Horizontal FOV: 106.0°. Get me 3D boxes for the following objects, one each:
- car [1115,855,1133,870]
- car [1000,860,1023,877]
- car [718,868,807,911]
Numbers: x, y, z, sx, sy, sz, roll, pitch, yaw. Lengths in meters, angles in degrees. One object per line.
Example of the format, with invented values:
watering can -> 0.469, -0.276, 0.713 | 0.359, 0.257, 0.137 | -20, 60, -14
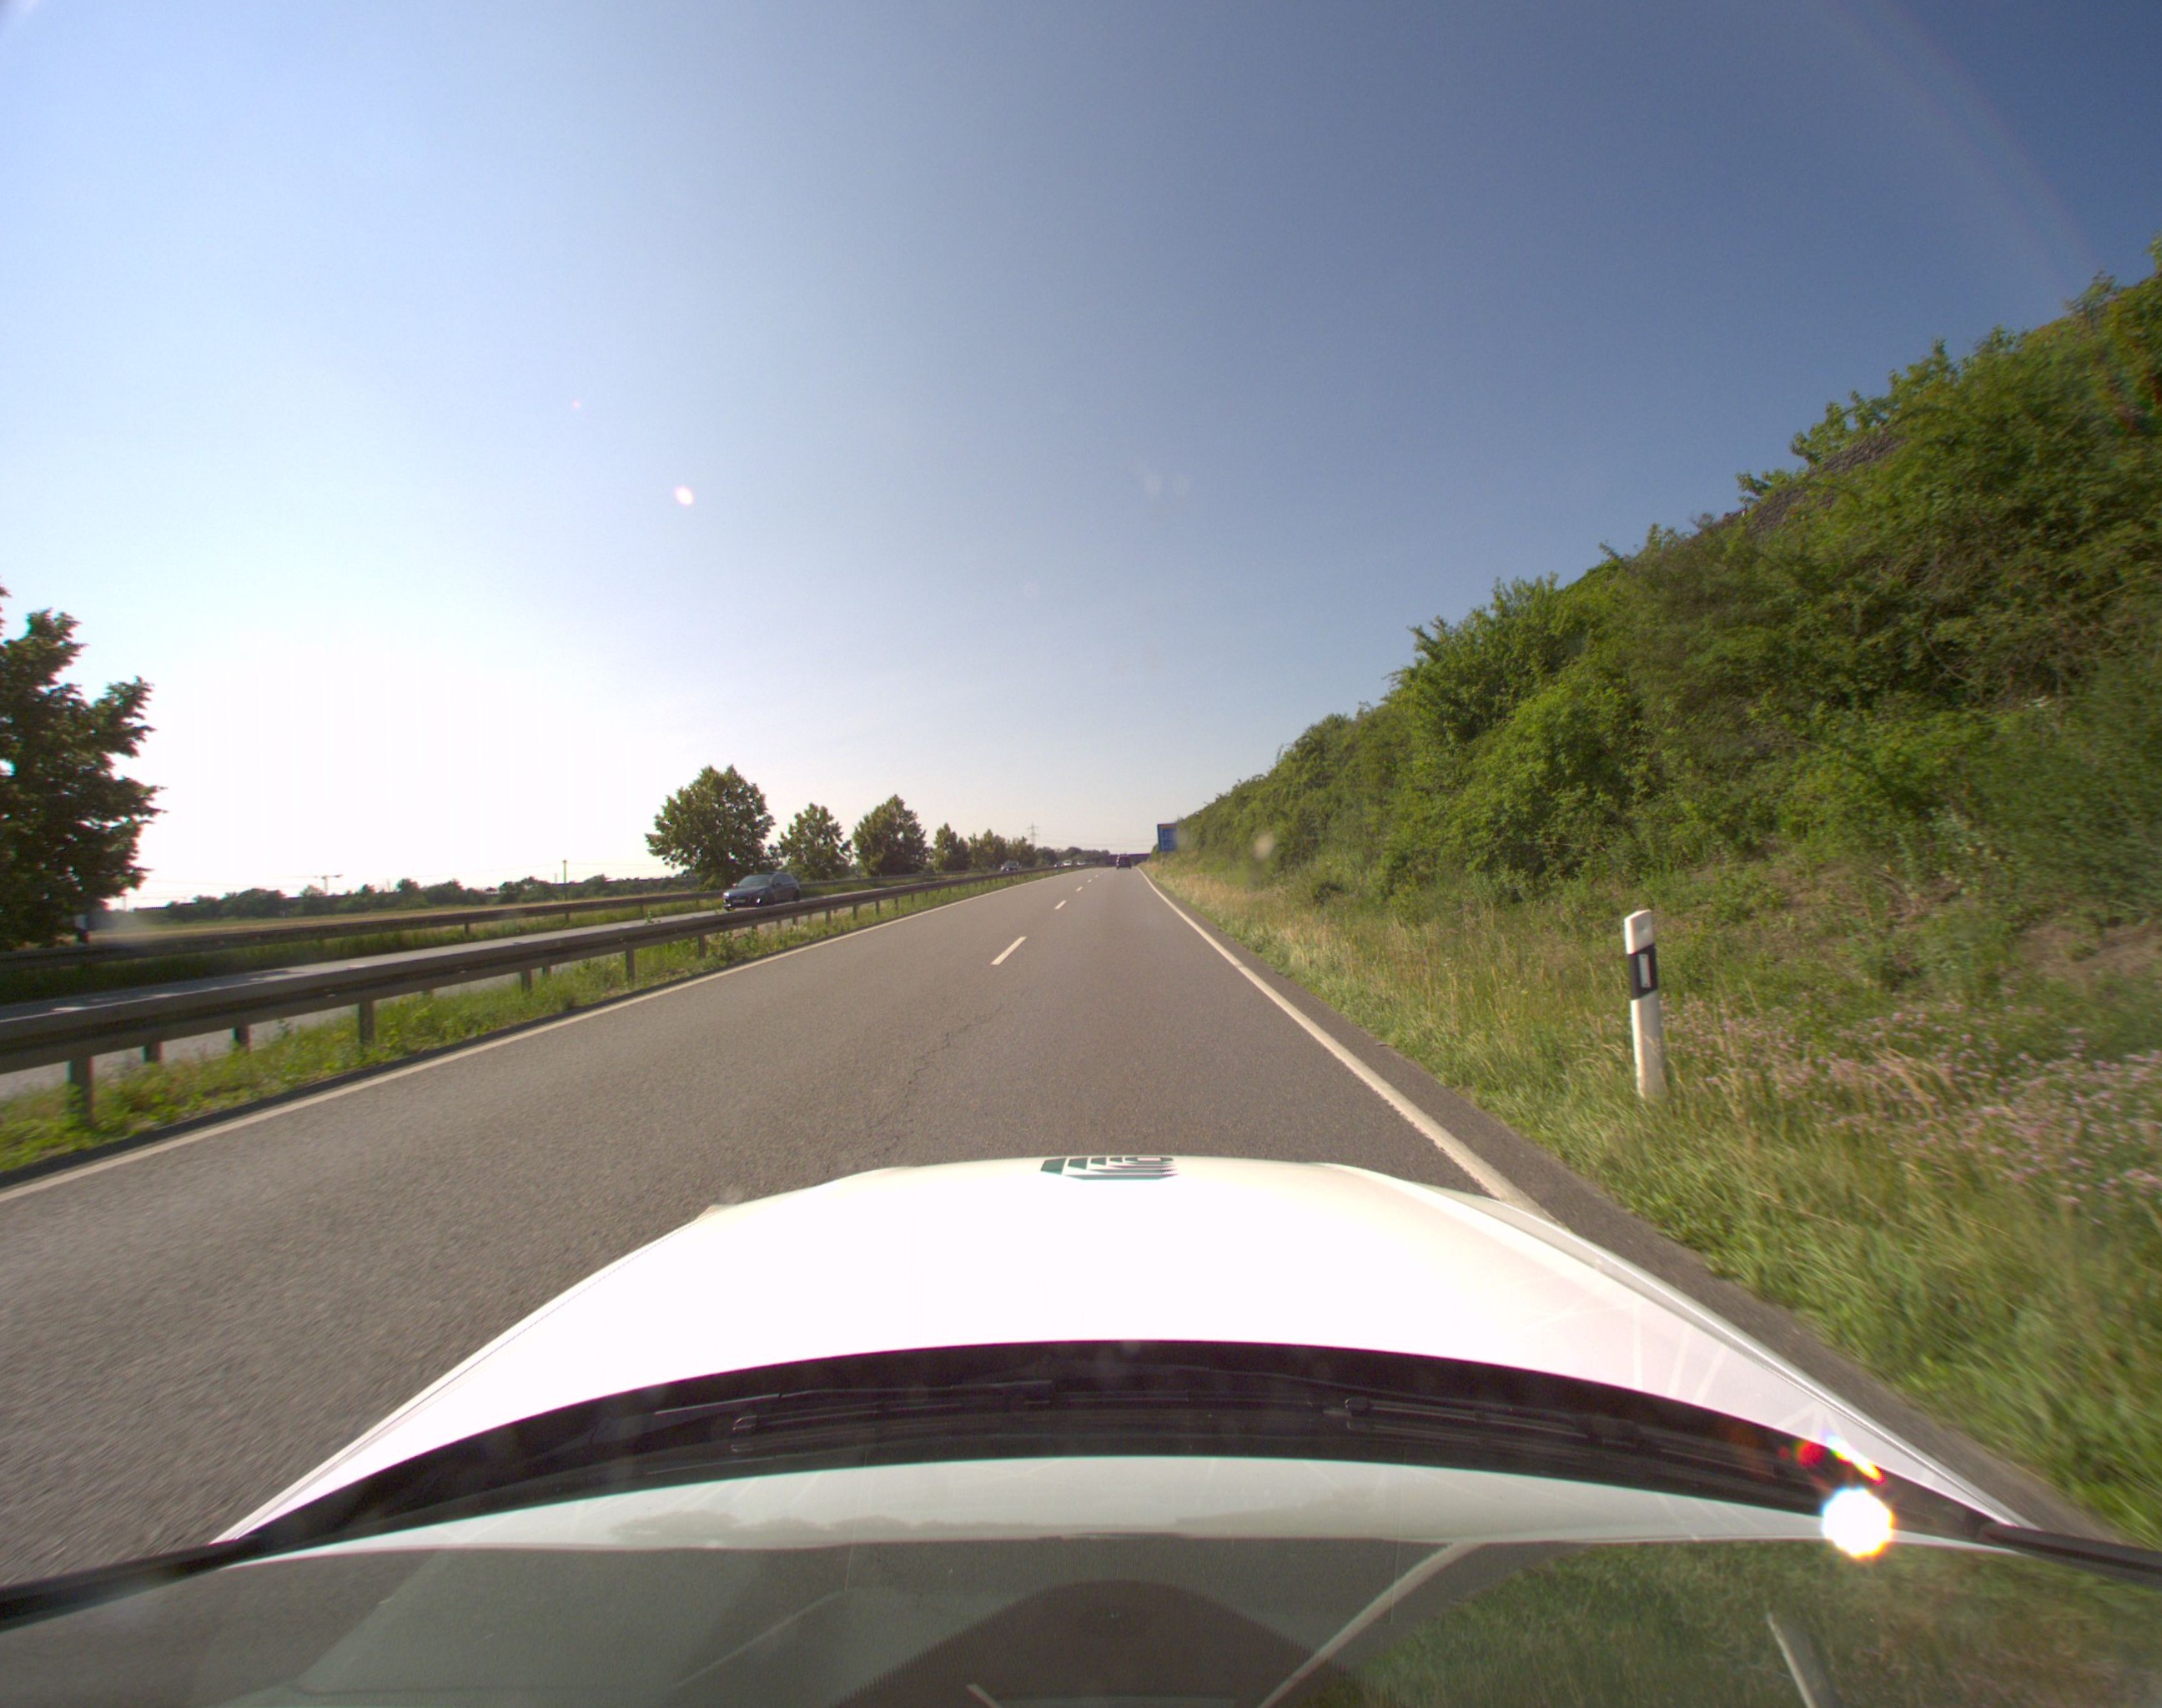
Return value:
car -> 5.316, 1.079, 100.087 | 1.840, 1.644, 4.007 | -3, -2, 6
car -> -7.108, 1.463, 83.418 | 1.682, 1.541, 4.249 | -2, 0, 4
car -> -13.020, 1.419, 33.608 | 1.645, 1.553, 4.564 | -1, 0, 3
